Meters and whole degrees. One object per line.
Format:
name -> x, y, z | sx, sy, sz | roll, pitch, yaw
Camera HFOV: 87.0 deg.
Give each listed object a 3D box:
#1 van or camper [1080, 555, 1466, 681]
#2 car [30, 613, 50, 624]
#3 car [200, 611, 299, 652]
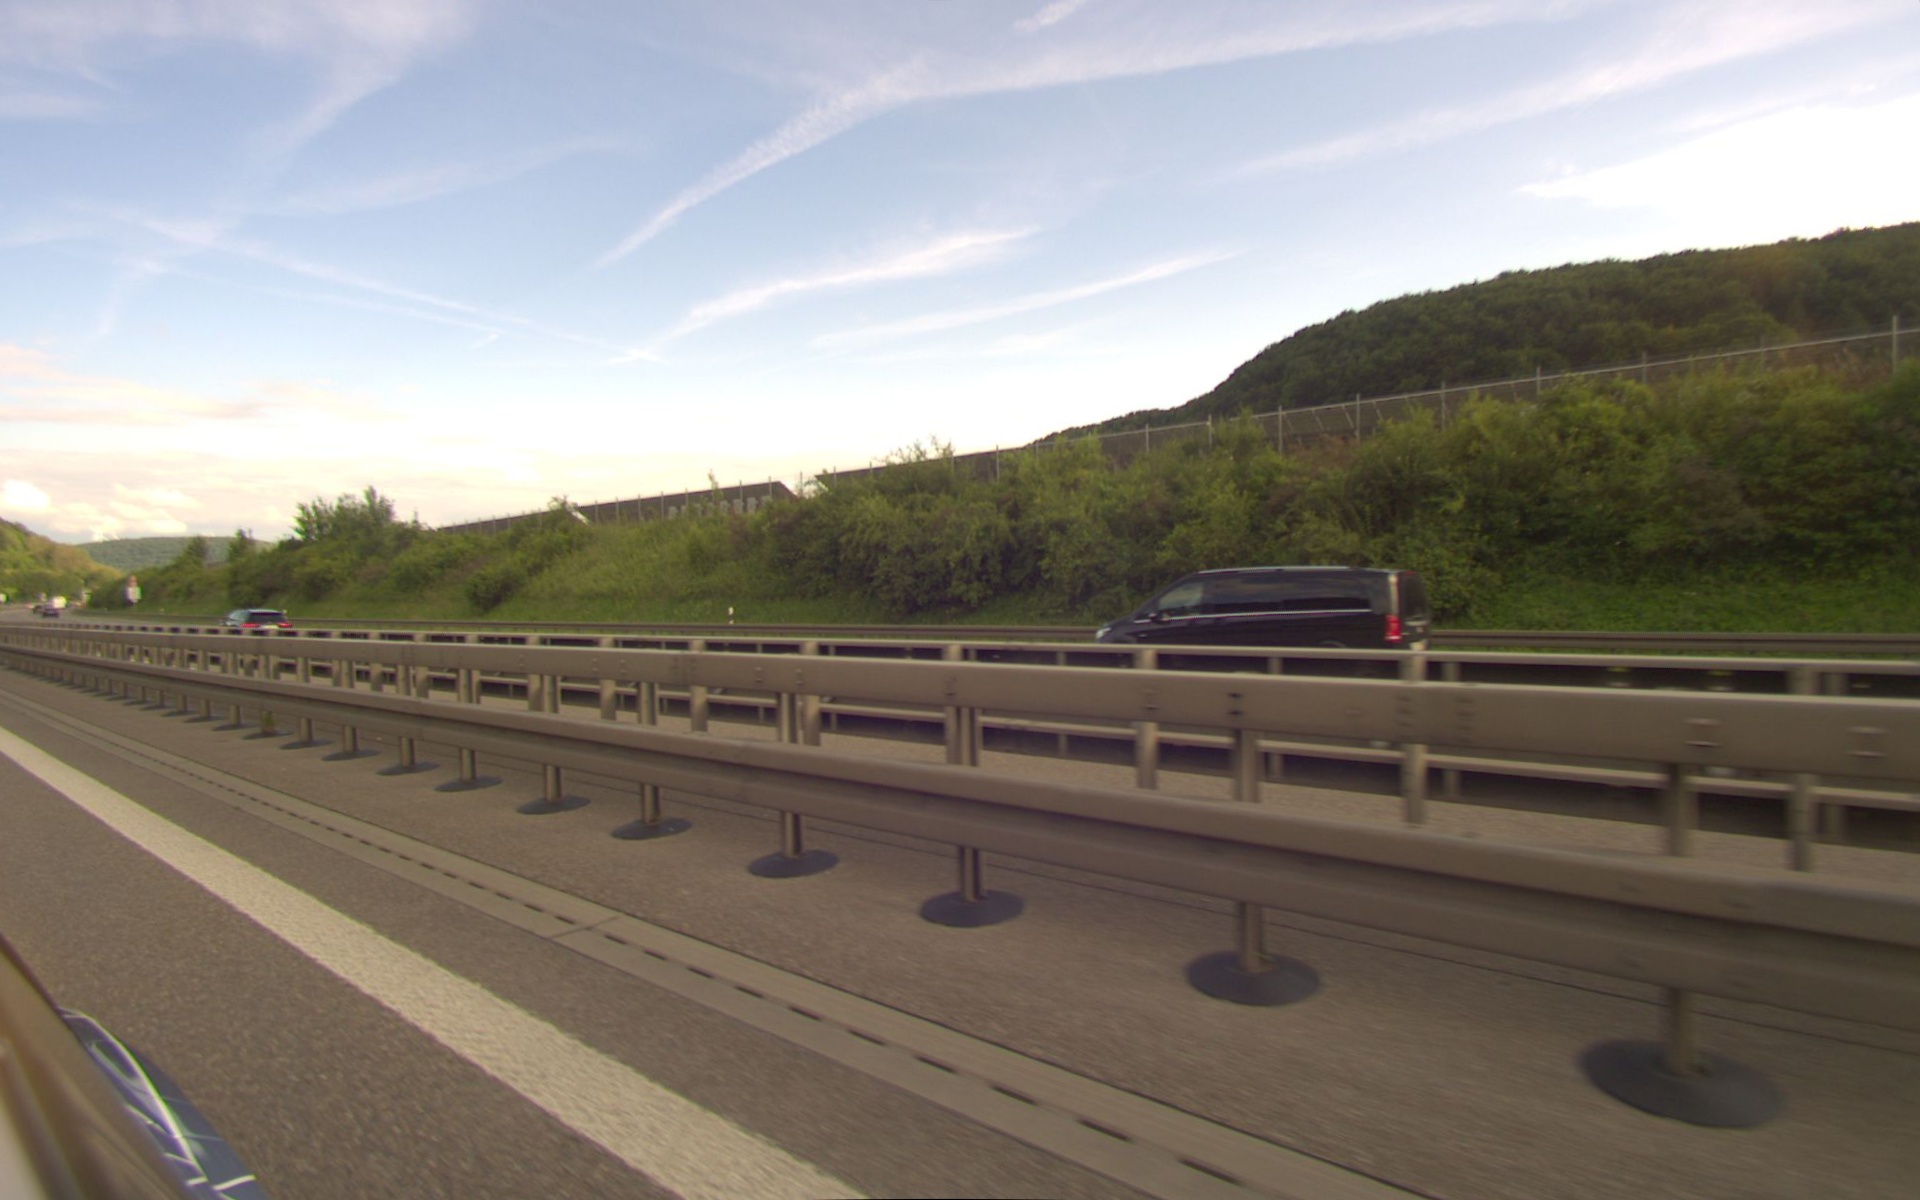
van or camper -> 4.727, 0.303, 15.871 | 5.447, 1.672, 1.974 | -1, -2, 39
car -> -128.400, 2.532, 141.202 | 3.999, 1.426, 1.688 | 0, 0, 42
car -> -27.773, 1.194, 39.504 | 4.582, 1.441, 1.974 | 0, 1, 39
